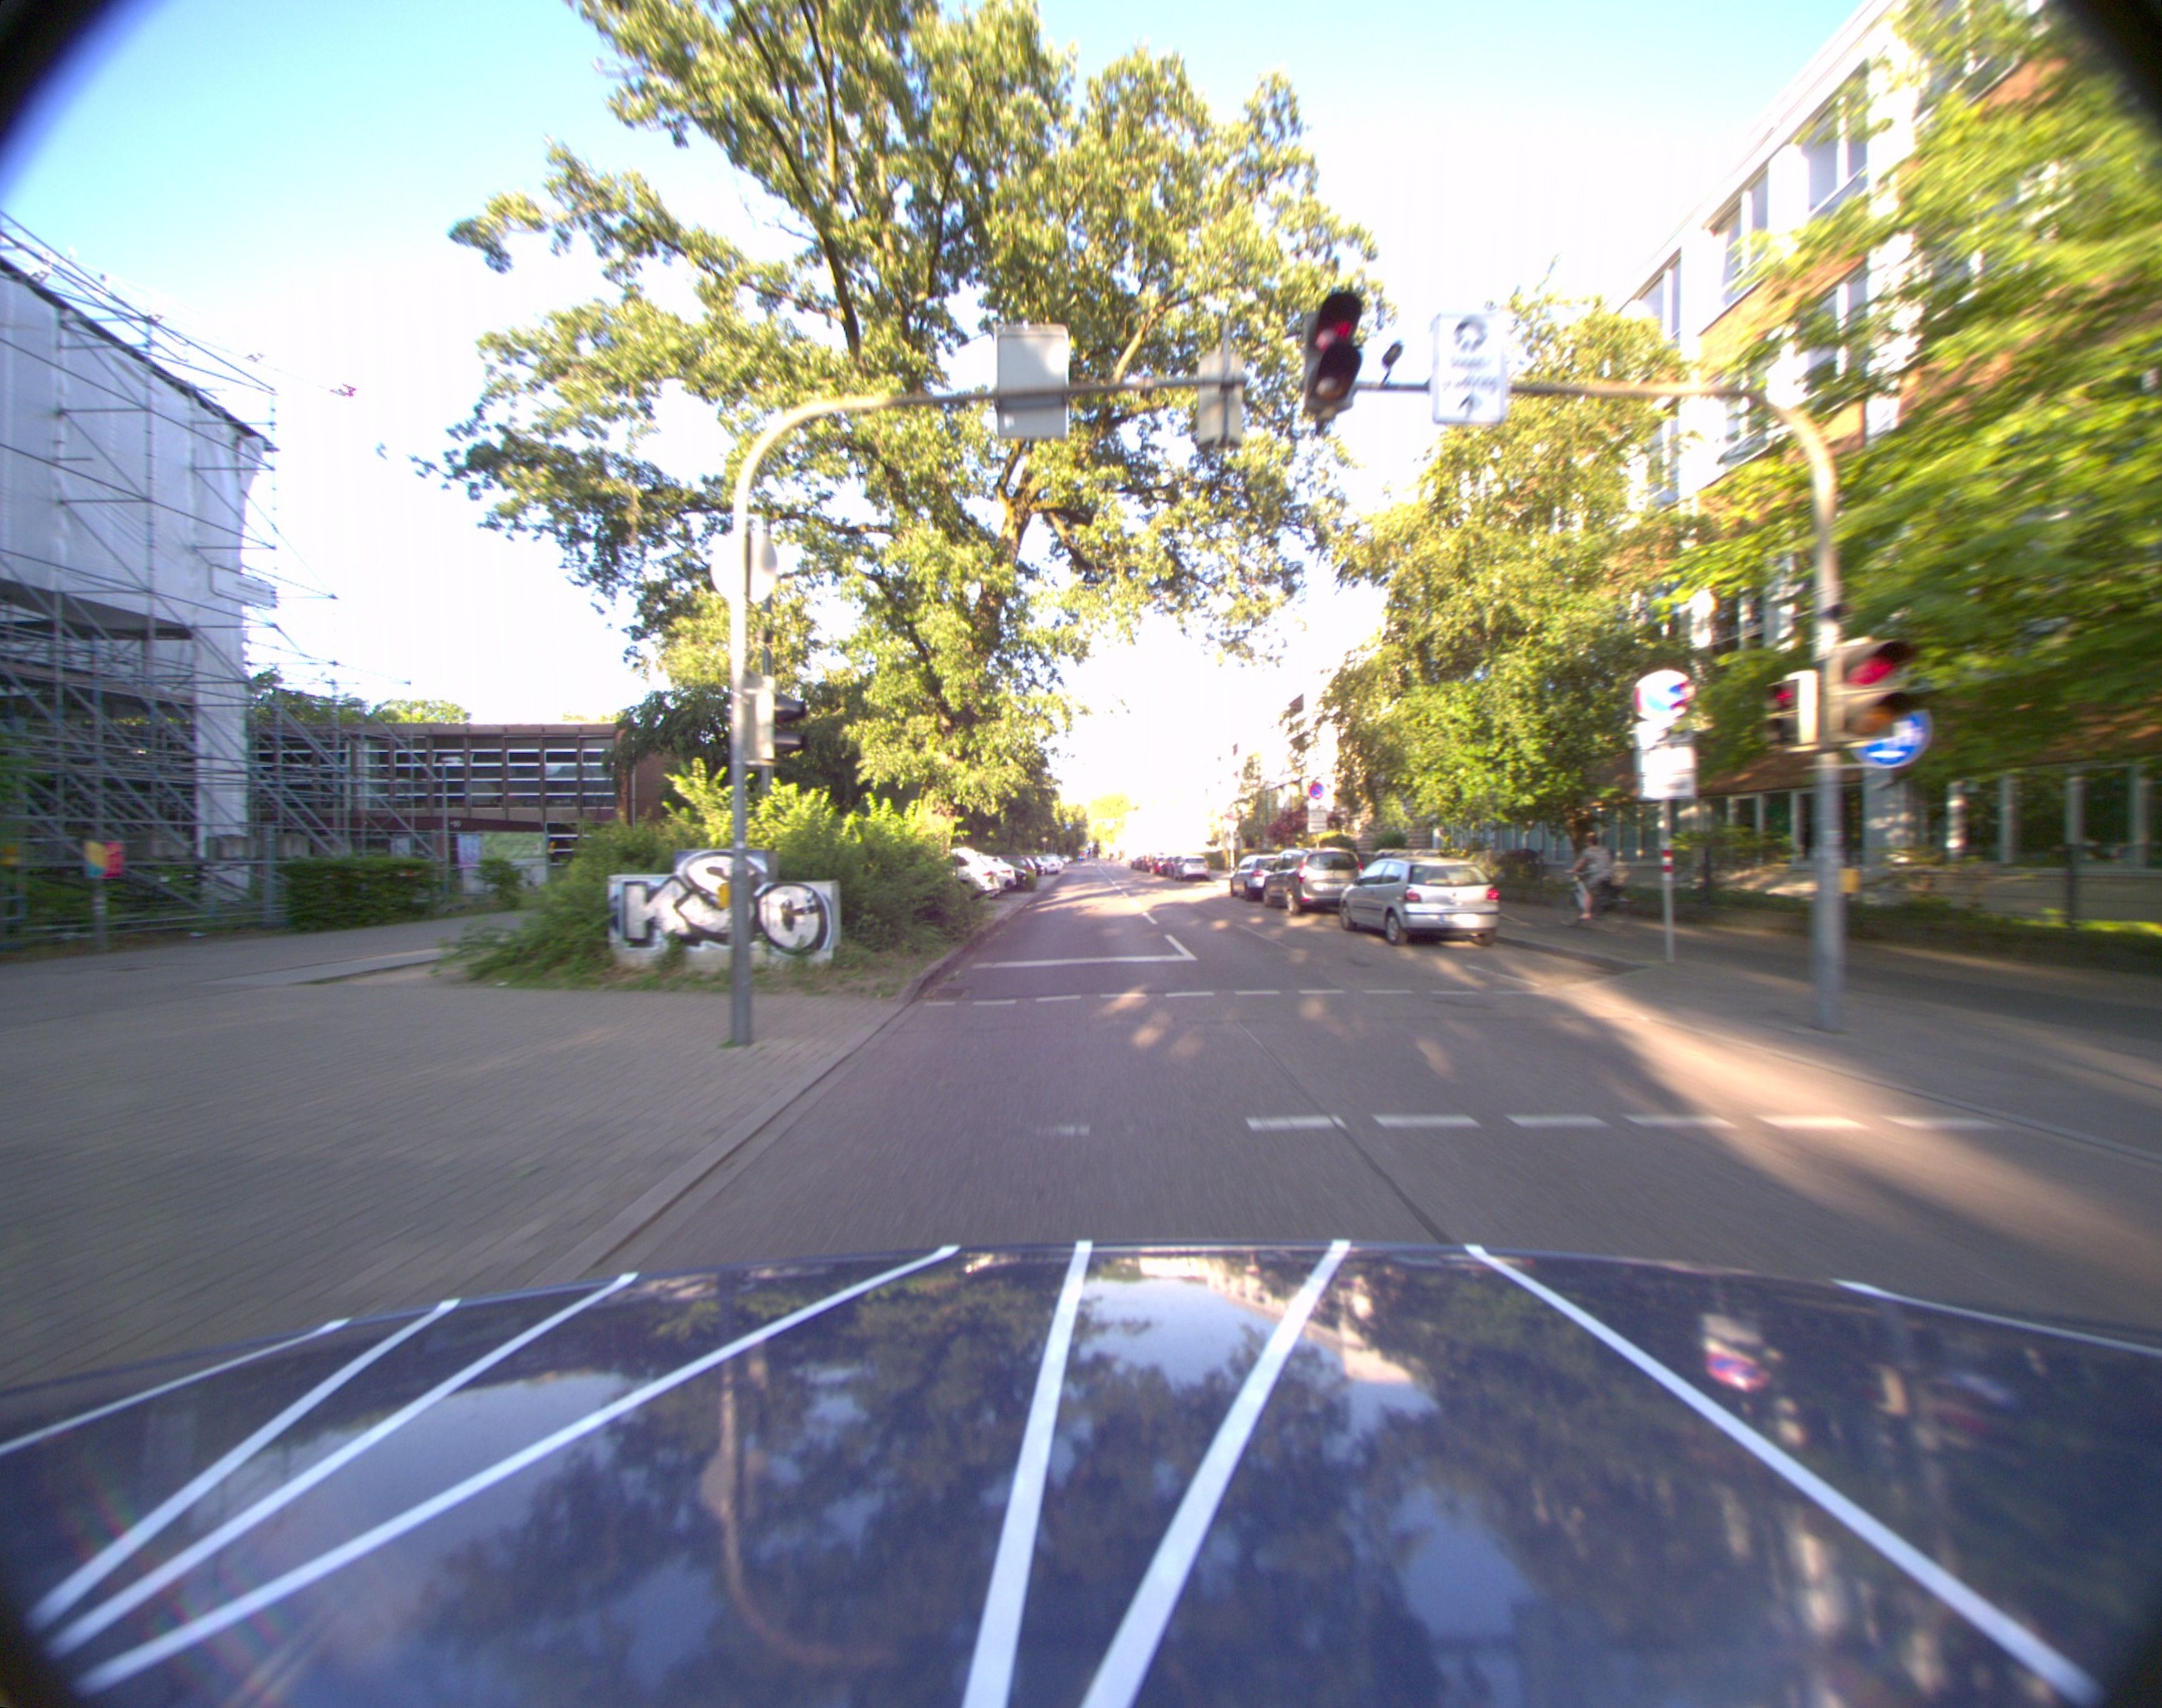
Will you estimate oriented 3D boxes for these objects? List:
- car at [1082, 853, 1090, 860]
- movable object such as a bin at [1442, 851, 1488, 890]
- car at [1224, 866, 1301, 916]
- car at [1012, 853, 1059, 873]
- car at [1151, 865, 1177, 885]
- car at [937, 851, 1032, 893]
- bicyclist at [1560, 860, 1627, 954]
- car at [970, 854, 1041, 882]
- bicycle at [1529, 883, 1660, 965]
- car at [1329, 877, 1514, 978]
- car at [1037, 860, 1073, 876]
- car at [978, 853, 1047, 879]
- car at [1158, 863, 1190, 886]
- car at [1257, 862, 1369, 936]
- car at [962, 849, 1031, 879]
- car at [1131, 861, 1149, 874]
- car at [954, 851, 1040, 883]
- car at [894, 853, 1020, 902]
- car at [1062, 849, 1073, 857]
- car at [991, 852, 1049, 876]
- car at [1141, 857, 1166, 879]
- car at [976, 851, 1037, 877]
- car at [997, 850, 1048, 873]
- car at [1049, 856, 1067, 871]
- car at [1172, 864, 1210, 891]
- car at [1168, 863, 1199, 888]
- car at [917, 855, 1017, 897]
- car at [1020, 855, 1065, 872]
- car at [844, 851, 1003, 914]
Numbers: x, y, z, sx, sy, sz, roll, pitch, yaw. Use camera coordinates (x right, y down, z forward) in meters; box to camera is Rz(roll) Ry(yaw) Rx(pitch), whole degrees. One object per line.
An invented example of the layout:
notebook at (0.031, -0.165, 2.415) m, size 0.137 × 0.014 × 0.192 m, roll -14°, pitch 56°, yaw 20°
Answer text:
car at (1.601, 0.843, 237.983) m, size 2.228 × 2.002 × 4.891 m, roll 0°, pitch 0°, yaw 1°
movable object such as a bin at (14.502, 0.618, 28.711) m, size 1.101 × 1.421 × 1.372 m, roll -1°, pitch 0°, yaw 4°
car at (6.011, 1.175, 25.620) m, size 1.675 × 1.485 × 4.061 m, roll 1°, pitch 0°, yaw 1°
car at (-3.617, 0.690, 61.088) m, size 3.676 × 1.543 × 1.735 m, roll 0°, pitch 0°, yaw -1°
car at (6.423, 1.616, 59.092) m, size 1.602 × 1.447 × 3.861 m, roll 0°, pitch 0°, yaw -1°
car at (-3.994, 0.749, 31.877) m, size 3.754 × 1.585 × 1.697 m, roll 2°, pitch -1°, yaw -2°
bicyclist at (9.017, 0.911, 13.397) m, size 0.677 × 1.594 × 0.706 m, roll -1°, pitch 1°, yaw -5°
car at (-4.454, 0.817, 45.014) m, size 3.933 × 1.445 × 1.832 m, roll 2°, pitch 0°, yaw 2°
bicycle at (9.017, 1.174, 13.475) m, size 0.688 × 1.242 × 2.191 m, roll -1°, pitch 0°, yaw -5°
car at (5.889, 1.191, 13.674) m, size 1.683 × 1.448 × 3.882 m, roll 1°, pitch 0°, yaw 2°
car at (-2.480, 1.296, 72.646) m, size 3.394 × 1.516 × 1.671 m, roll 0°, pitch 0°, yaw -2°
car at (-4.252, 0.743, 47.831) m, size 4.131 × 1.466 × 1.831 m, roll 2°, pitch 0°, yaw -1°
car at (6.408, 1.386, 52.714) m, size 1.602 × 1.446 × 4.055 m, roll 1°, pitch 0°, yaw -1°
car at (5.960, 1.081, 20.062) m, size 1.683 × 1.698 × 4.341 m, roll 1°, pitch 0°, yaw 1°
car at (-4.719, 0.554, 42.811) m, size 3.722 × 1.546 × 1.741 m, roll 2°, pitch 0°, yaw -3°
car at (6.548, 1.486, 84.431) m, size 1.746 × 1.349 × 4.396 m, roll 0°, pitch 0°, yaw 0°
car at (-4.394, 0.682, 40.255) m, size 4.349 × 1.466 × 1.742 m, roll 2°, pitch -1°, yaw -1°
car at (-4.299, 0.807, 26.796) m, size 4.132 × 1.657 × 1.723 m, roll 0°, pitch 0°, yaw 1°
car at (-2.458, -0.155, 139.130) m, size 1.752 × 1.478 × 4.177 m, roll 0°, pitch 0°, yaw 4°
car at (-4.242, 0.673, 53.294) m, size 3.817 × 1.466 × 1.757 m, roll 3°, pitch 0°, yaw 1°
car at (6.564, 1.225, 68.894) m, size 1.812 × 1.878 × 4.237 m, roll 0°, pitch 0°, yaw -1°
car at (-4.938, 0.640, 50.623) m, size 3.817 × 1.466 × 1.831 m, roll 3°, pitch 1°, yaw 1°
car at (-4.480, 0.566, 58.469) m, size 3.734 × 1.490 × 1.820 m, roll 3°, pitch 1°, yaw 1°
car at (-2.490, 1.003, 82.099) m, size 1.655 × 1.558 × 4.299 m, roll 2°, pitch 0°, yaw -5°
car at (6.277, 1.311, 43.567) m, size 1.605 × 1.485 × 3.772 m, roll 1°, pitch 0°, yaw 0°
car at (6.445, 1.314, 48.083) m, size 1.602 × 1.499 × 3.788 m, roll 1°, pitch 0°, yaw 2°
car at (-4.352, 0.839, 29.465) m, size 3.598 × 1.557 × 1.818 m, roll 0°, pitch 0°, yaw 0°
car at (-3.219, 0.783, 63.804) m, size 3.676 × 1.436 × 1.735 m, roll 0°, pitch 0°, yaw -1°
car at (-4.536, 0.798, 22.256) m, size 4.179 × 1.700 × 1.868 m, roll -1°, pitch 0°, yaw 5°
